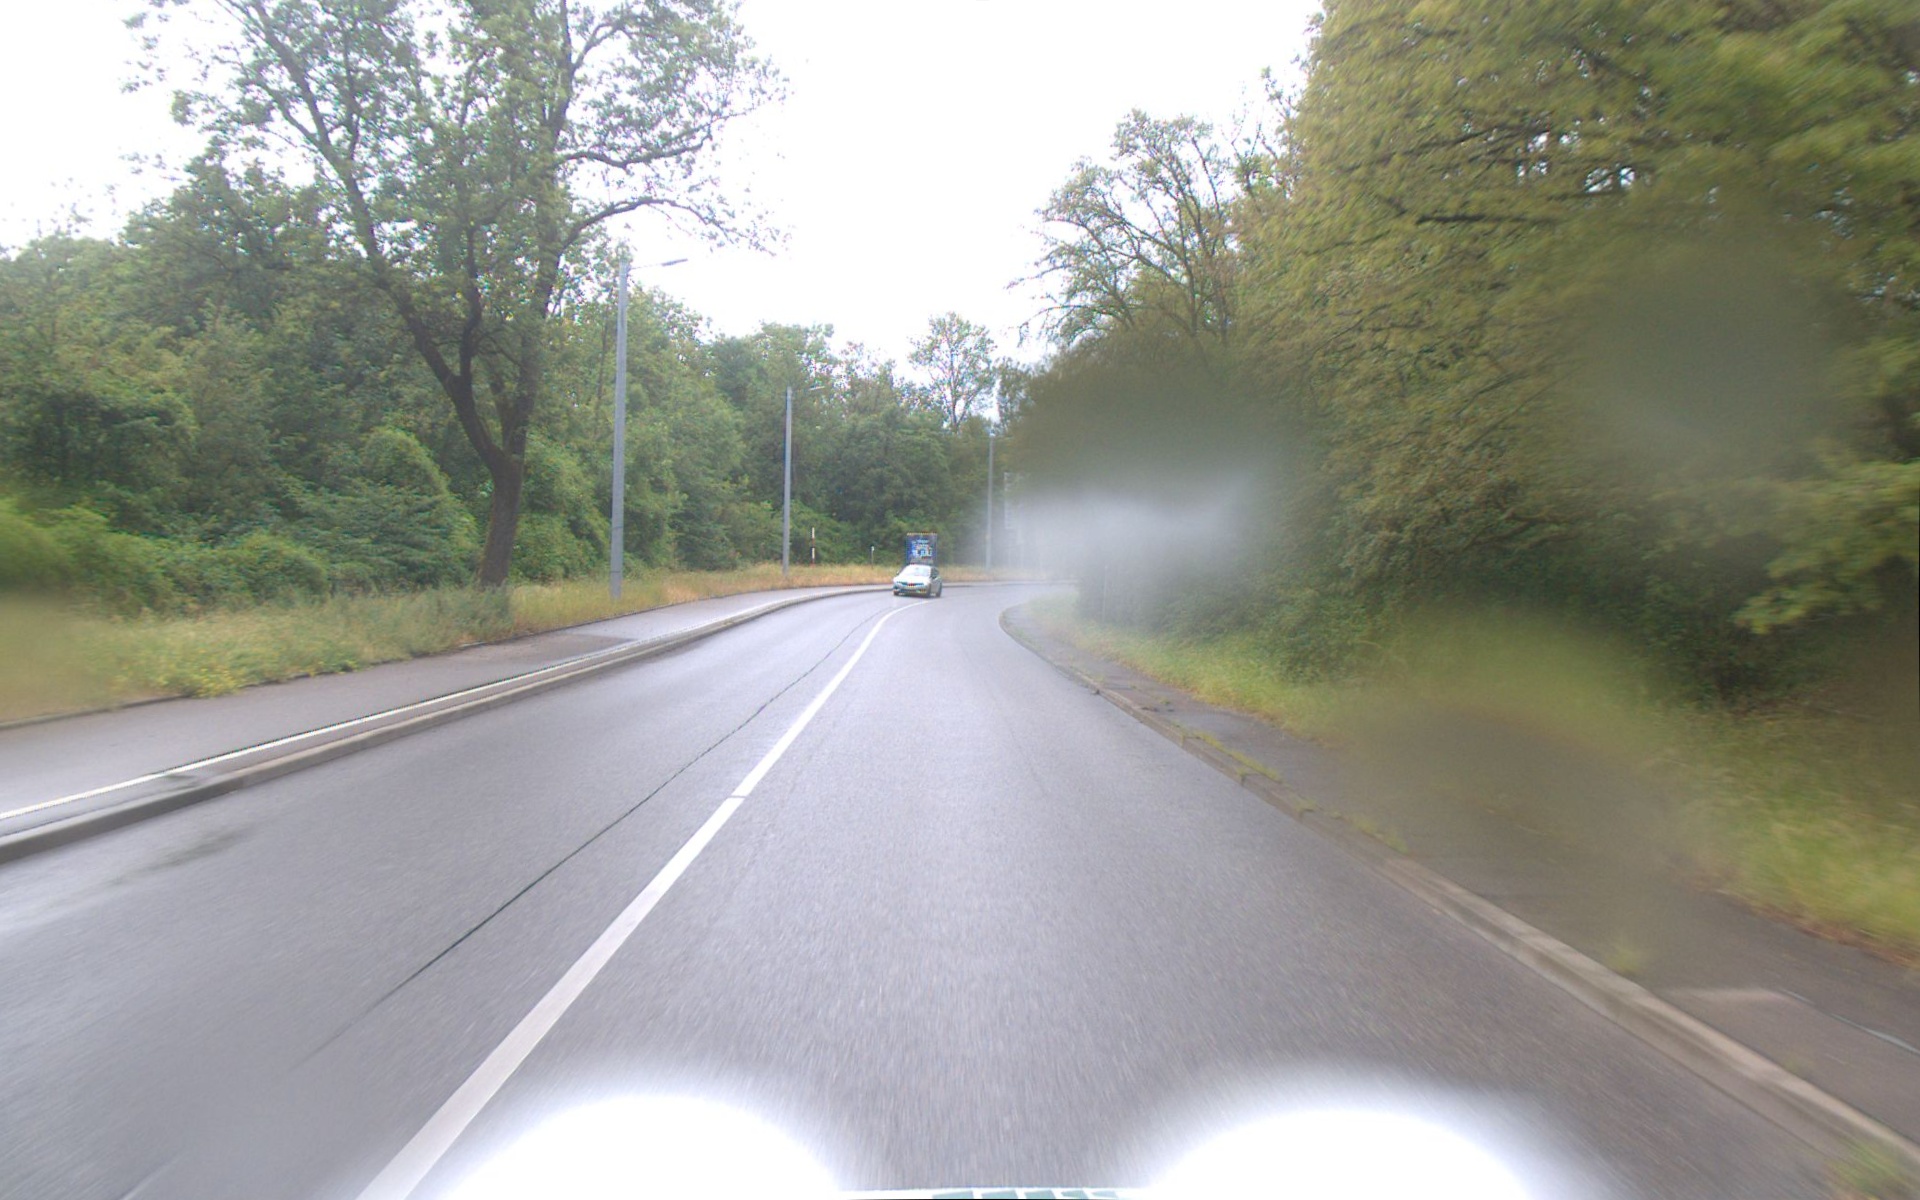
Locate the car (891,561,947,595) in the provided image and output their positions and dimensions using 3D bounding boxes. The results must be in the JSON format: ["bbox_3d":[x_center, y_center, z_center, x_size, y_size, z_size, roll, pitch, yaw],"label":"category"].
[{"bbox_3d":[-1.956,-1.079,80.120,1.743,1.455,4.479,5,2,10],"label":"car"}]
